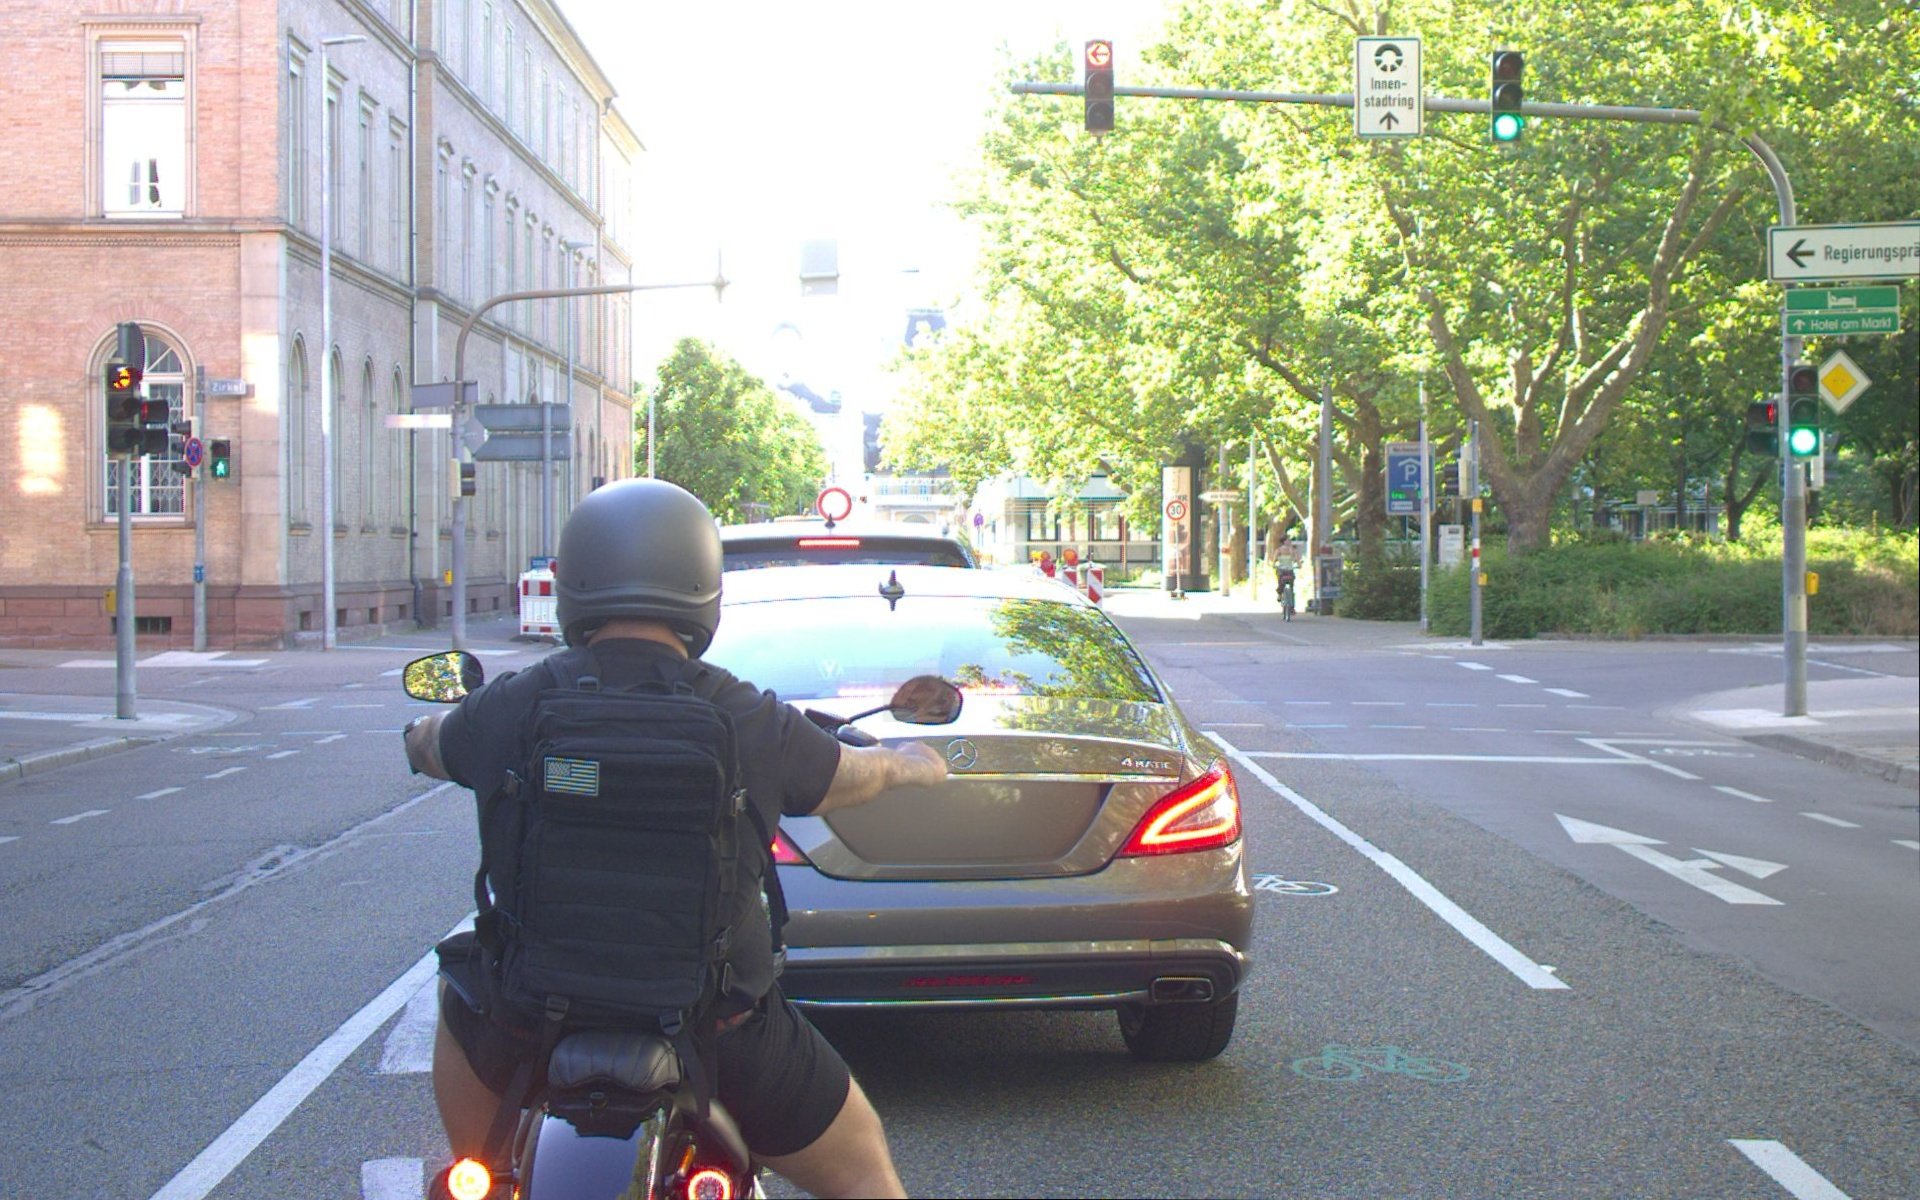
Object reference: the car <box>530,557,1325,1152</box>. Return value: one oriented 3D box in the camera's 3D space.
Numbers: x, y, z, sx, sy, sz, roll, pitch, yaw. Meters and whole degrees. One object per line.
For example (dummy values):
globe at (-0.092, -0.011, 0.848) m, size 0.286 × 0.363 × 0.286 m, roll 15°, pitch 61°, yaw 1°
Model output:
car at (-0.330, 0.597, 10.707) m, size 1.901 × 1.436 × 4.290 m, roll 0°, pitch 1°, yaw -8°

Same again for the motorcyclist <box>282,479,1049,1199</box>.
motorcyclist at (-0.421, 0.622, 5.266) m, size 1.061 × 1.577 × 0.908 m, roll 1°, pitch 0°, yaw -1°

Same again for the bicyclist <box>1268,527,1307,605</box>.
bicyclist at (6.740, -0.698, 70.764) m, size 0.716 × 1.577 × 0.936 m, roll 1°, pitch 0°, yaw 2°

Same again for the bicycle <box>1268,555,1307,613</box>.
bicycle at (6.738, -0.337, 70.801) m, size 0.716 × 1.168 × 2.176 m, roll 1°, pitch 1°, yaw 3°

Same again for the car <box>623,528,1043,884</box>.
car at (-0.652, 0.421, 16.769) m, size 1.813 × 1.530 × 3.849 m, roll 0°, pitch 1°, yaw -3°

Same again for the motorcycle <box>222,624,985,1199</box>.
motorcycle at (-0.471, 0.741, 5.538) m, size 0.962 × 1.352 × 2.320 m, roll 1°, pitch 1°, yaw -1°
